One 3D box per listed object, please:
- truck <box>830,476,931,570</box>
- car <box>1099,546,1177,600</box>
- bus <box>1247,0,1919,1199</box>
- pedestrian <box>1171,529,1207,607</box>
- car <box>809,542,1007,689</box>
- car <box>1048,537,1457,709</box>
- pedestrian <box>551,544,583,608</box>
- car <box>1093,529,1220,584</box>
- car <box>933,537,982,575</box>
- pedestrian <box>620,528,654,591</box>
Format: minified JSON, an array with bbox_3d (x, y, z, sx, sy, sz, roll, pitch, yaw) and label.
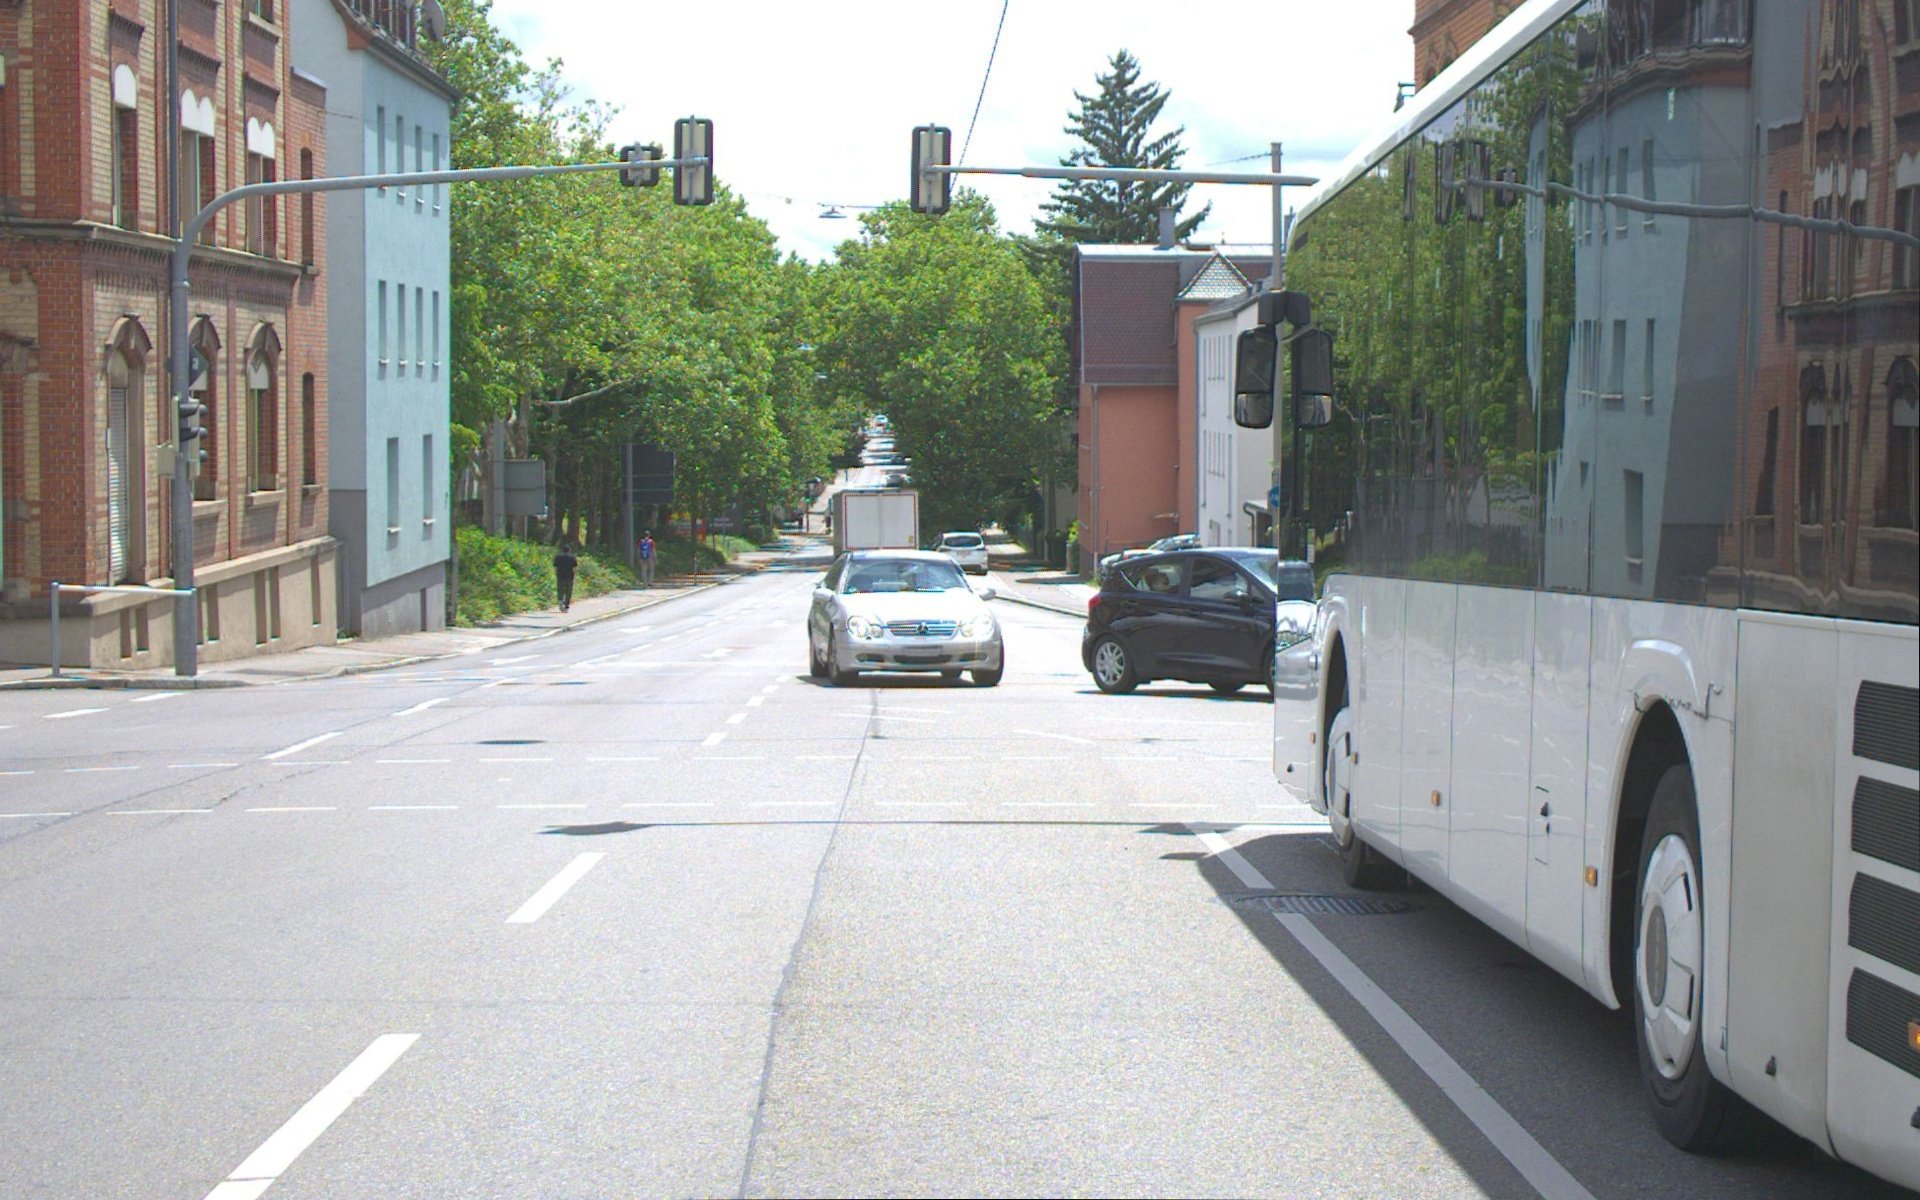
[{"bbox_3d":[-2.795,-2.666,118.628,2.926,3.070,7.887,-1,1,-5],"label":"truck"},{"bbox_3d":[4.900,-0.762,95.113,1.794,1.405,4.001,-1,2,-2],"label":"car"},{"bbox_3d":[2.872,-0.292,11.282,2.672,3.145,12.463,-1,1,-1],"label":"bus"},{"bbox_3d":[5.167,-0.729,77.497,0.738,1.744,0.619,-1,1,-1],"label":"pedestrian"},{"bbox_3d":[-0.606,0.118,36.308,1.698,1.422,4.001,-1,1,-6],"label":"car"},{"bbox_3d":[2.749,0.172,32.929,1.759,1.511,3.792,-2,2,-39],"label":"car"},{"bbox_3d":[-9.646,-0.591,84.356,0.729,1.560,0.561,0,1,-1],"label":"pedestrian"},{"bbox_3d":[6.563,-1.466,115.209,3.986,1.751,2.000,-1,1,-5],"label":"car"},{"bbox_3d":[-0.114,-1.698,131.128,1.794,1.405,4.000,1,1,-1],"label":"car"},{"bbox_3d":[-10.438,-1.321,111.206,0.995,2.007,1.189,-1,1,-1],"label":"pedestrian"}]
